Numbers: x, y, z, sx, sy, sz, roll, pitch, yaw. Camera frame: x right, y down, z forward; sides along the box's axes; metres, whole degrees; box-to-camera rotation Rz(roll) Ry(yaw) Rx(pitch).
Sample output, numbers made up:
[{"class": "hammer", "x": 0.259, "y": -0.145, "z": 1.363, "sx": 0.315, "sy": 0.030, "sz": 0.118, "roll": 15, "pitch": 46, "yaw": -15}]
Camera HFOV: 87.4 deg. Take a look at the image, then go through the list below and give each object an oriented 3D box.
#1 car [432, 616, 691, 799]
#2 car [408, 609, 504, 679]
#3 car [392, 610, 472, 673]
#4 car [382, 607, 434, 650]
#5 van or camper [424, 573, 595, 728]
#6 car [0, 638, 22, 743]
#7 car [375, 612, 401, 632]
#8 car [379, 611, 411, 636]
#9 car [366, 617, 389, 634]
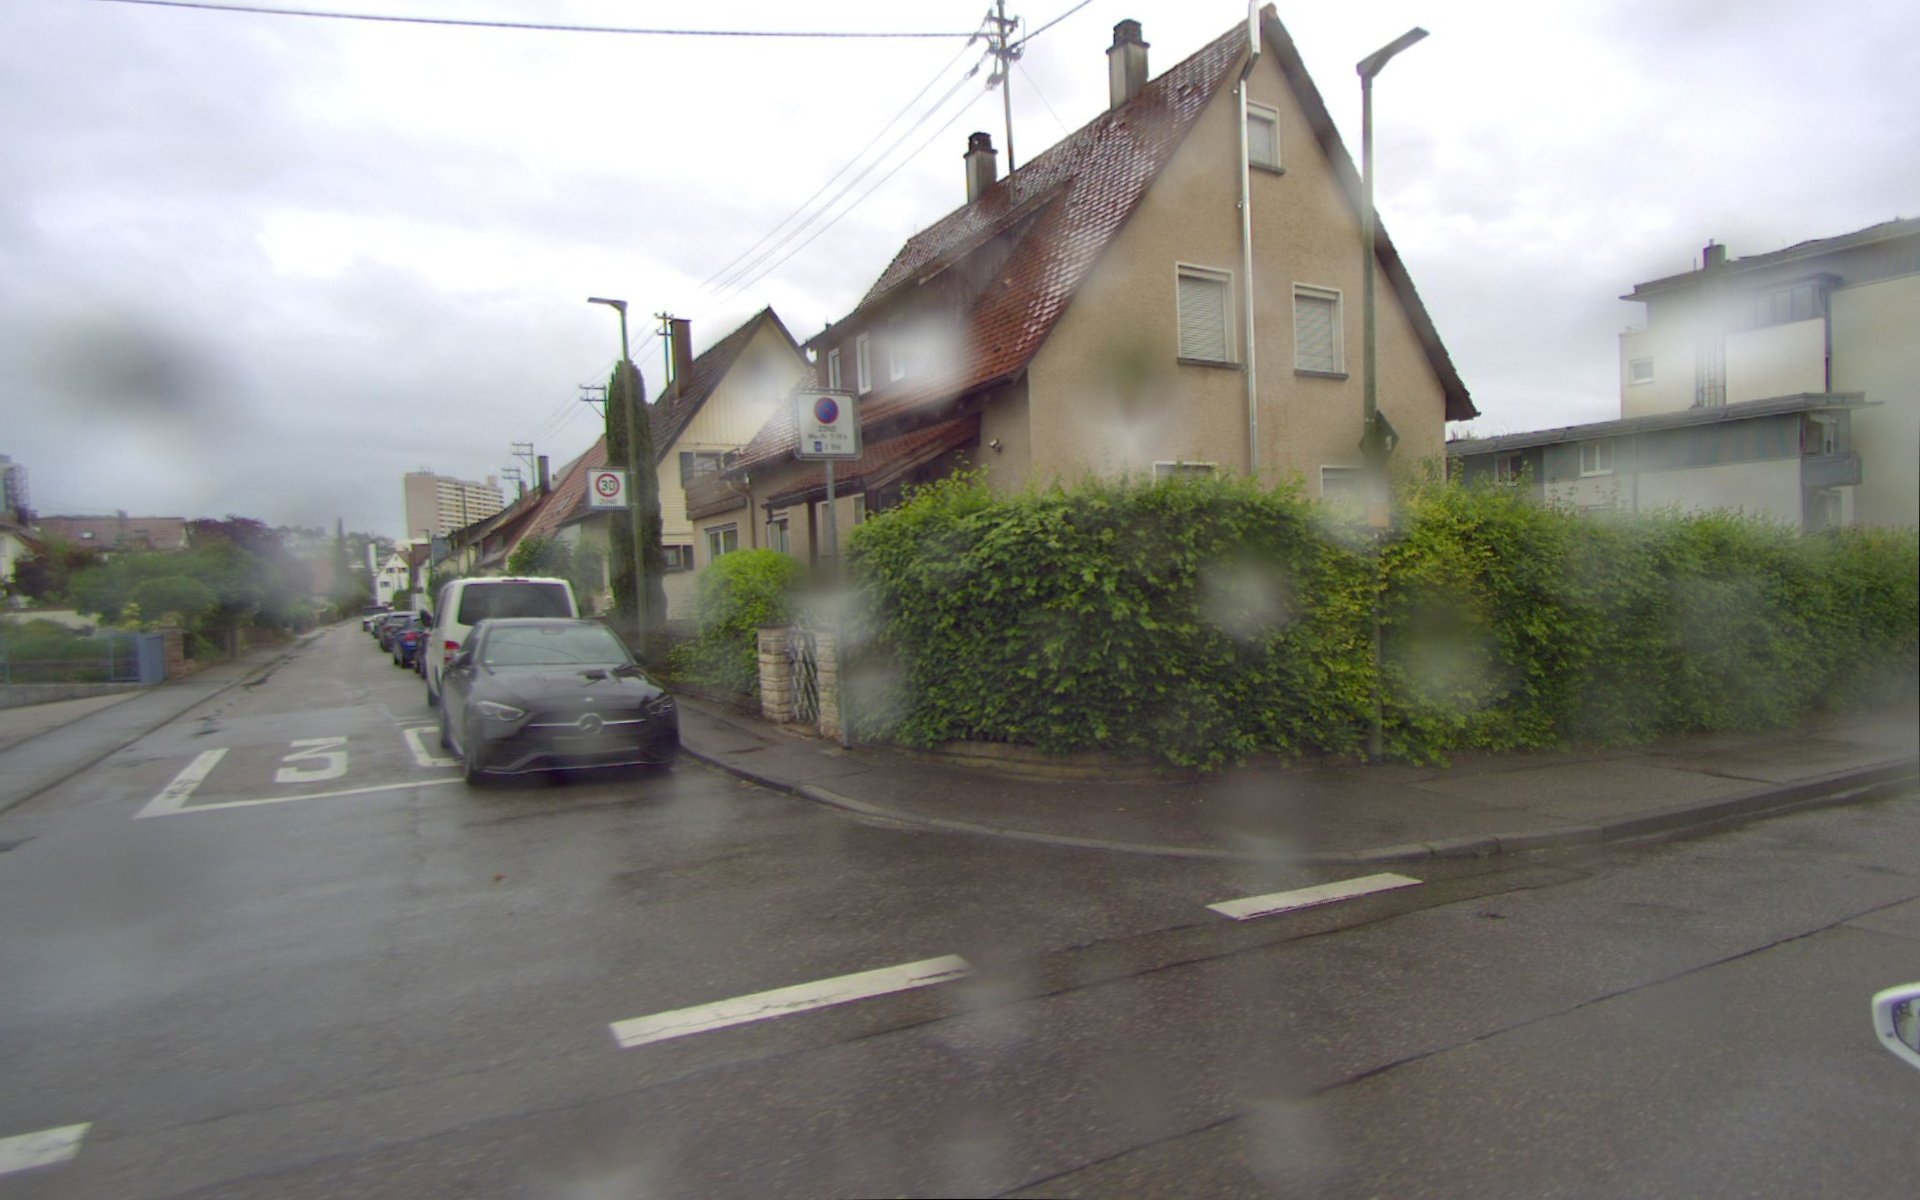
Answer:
[{"class": "car", "x": -4.316, "y": 0.890, "z": 10.377, "sx": 1.872, "sy": 1.417, "sz": 4.560, "roll": 0, "pitch": -1, "yaw": -30}, {"class": "car", "x": -12.271, "y": 1.006, "z": 24.325, "sx": 1.872, "sy": 1.515, "sz": 4.055, "roll": 0, "pitch": -1, "yaw": -30}, {"class": "car", "x": -15.086, "y": 1.119, "z": 28.616, "sx": 1.872, "sy": 1.630, "sz": 4.055, "roll": 0, "pitch": -1, "yaw": -30}, {"class": "car", "x": -22.807, "y": 1.204, "z": 41.474, "sx": 1.799, "sy": 1.640, "sz": 4.055, "roll": 0, "pitch": -2, "yaw": -30}, {"class": "van or camper", "x": -6.919, "y": 0.672, "z": 15.146, "sx": 1.912, "sy": 1.956, "sz": 4.527, "roll": 0, "pitch": -1, "yaw": -30}, {"class": "car", "x": -14.845, "y": 1.495, "z": 13.105, "sx": 3.409, "sy": 1.457, "sz": 1.633, "roll": -10, "pitch": 3, "yaw": -34}, {"class": "car", "x": -44.630, "y": 1.744, "z": 78.369, "sx": 1.728, "sy": 1.497, "sz": 4.055, "roll": 0, "pitch": -2, "yaw": -30}, {"class": "car", "x": -36.126, "y": 1.532, "z": 64.193, "sx": 1.728, "sy": 1.497, "sz": 4.055, "roll": 0, "pitch": -2, "yaw": -30}, {"class": "car", "x": -52.906, "y": 2.336, "z": 91.301, "sx": 1.728, "sy": 1.497, "sz": 4.072, "roll": 0, "pitch": -2, "yaw": -30}]
